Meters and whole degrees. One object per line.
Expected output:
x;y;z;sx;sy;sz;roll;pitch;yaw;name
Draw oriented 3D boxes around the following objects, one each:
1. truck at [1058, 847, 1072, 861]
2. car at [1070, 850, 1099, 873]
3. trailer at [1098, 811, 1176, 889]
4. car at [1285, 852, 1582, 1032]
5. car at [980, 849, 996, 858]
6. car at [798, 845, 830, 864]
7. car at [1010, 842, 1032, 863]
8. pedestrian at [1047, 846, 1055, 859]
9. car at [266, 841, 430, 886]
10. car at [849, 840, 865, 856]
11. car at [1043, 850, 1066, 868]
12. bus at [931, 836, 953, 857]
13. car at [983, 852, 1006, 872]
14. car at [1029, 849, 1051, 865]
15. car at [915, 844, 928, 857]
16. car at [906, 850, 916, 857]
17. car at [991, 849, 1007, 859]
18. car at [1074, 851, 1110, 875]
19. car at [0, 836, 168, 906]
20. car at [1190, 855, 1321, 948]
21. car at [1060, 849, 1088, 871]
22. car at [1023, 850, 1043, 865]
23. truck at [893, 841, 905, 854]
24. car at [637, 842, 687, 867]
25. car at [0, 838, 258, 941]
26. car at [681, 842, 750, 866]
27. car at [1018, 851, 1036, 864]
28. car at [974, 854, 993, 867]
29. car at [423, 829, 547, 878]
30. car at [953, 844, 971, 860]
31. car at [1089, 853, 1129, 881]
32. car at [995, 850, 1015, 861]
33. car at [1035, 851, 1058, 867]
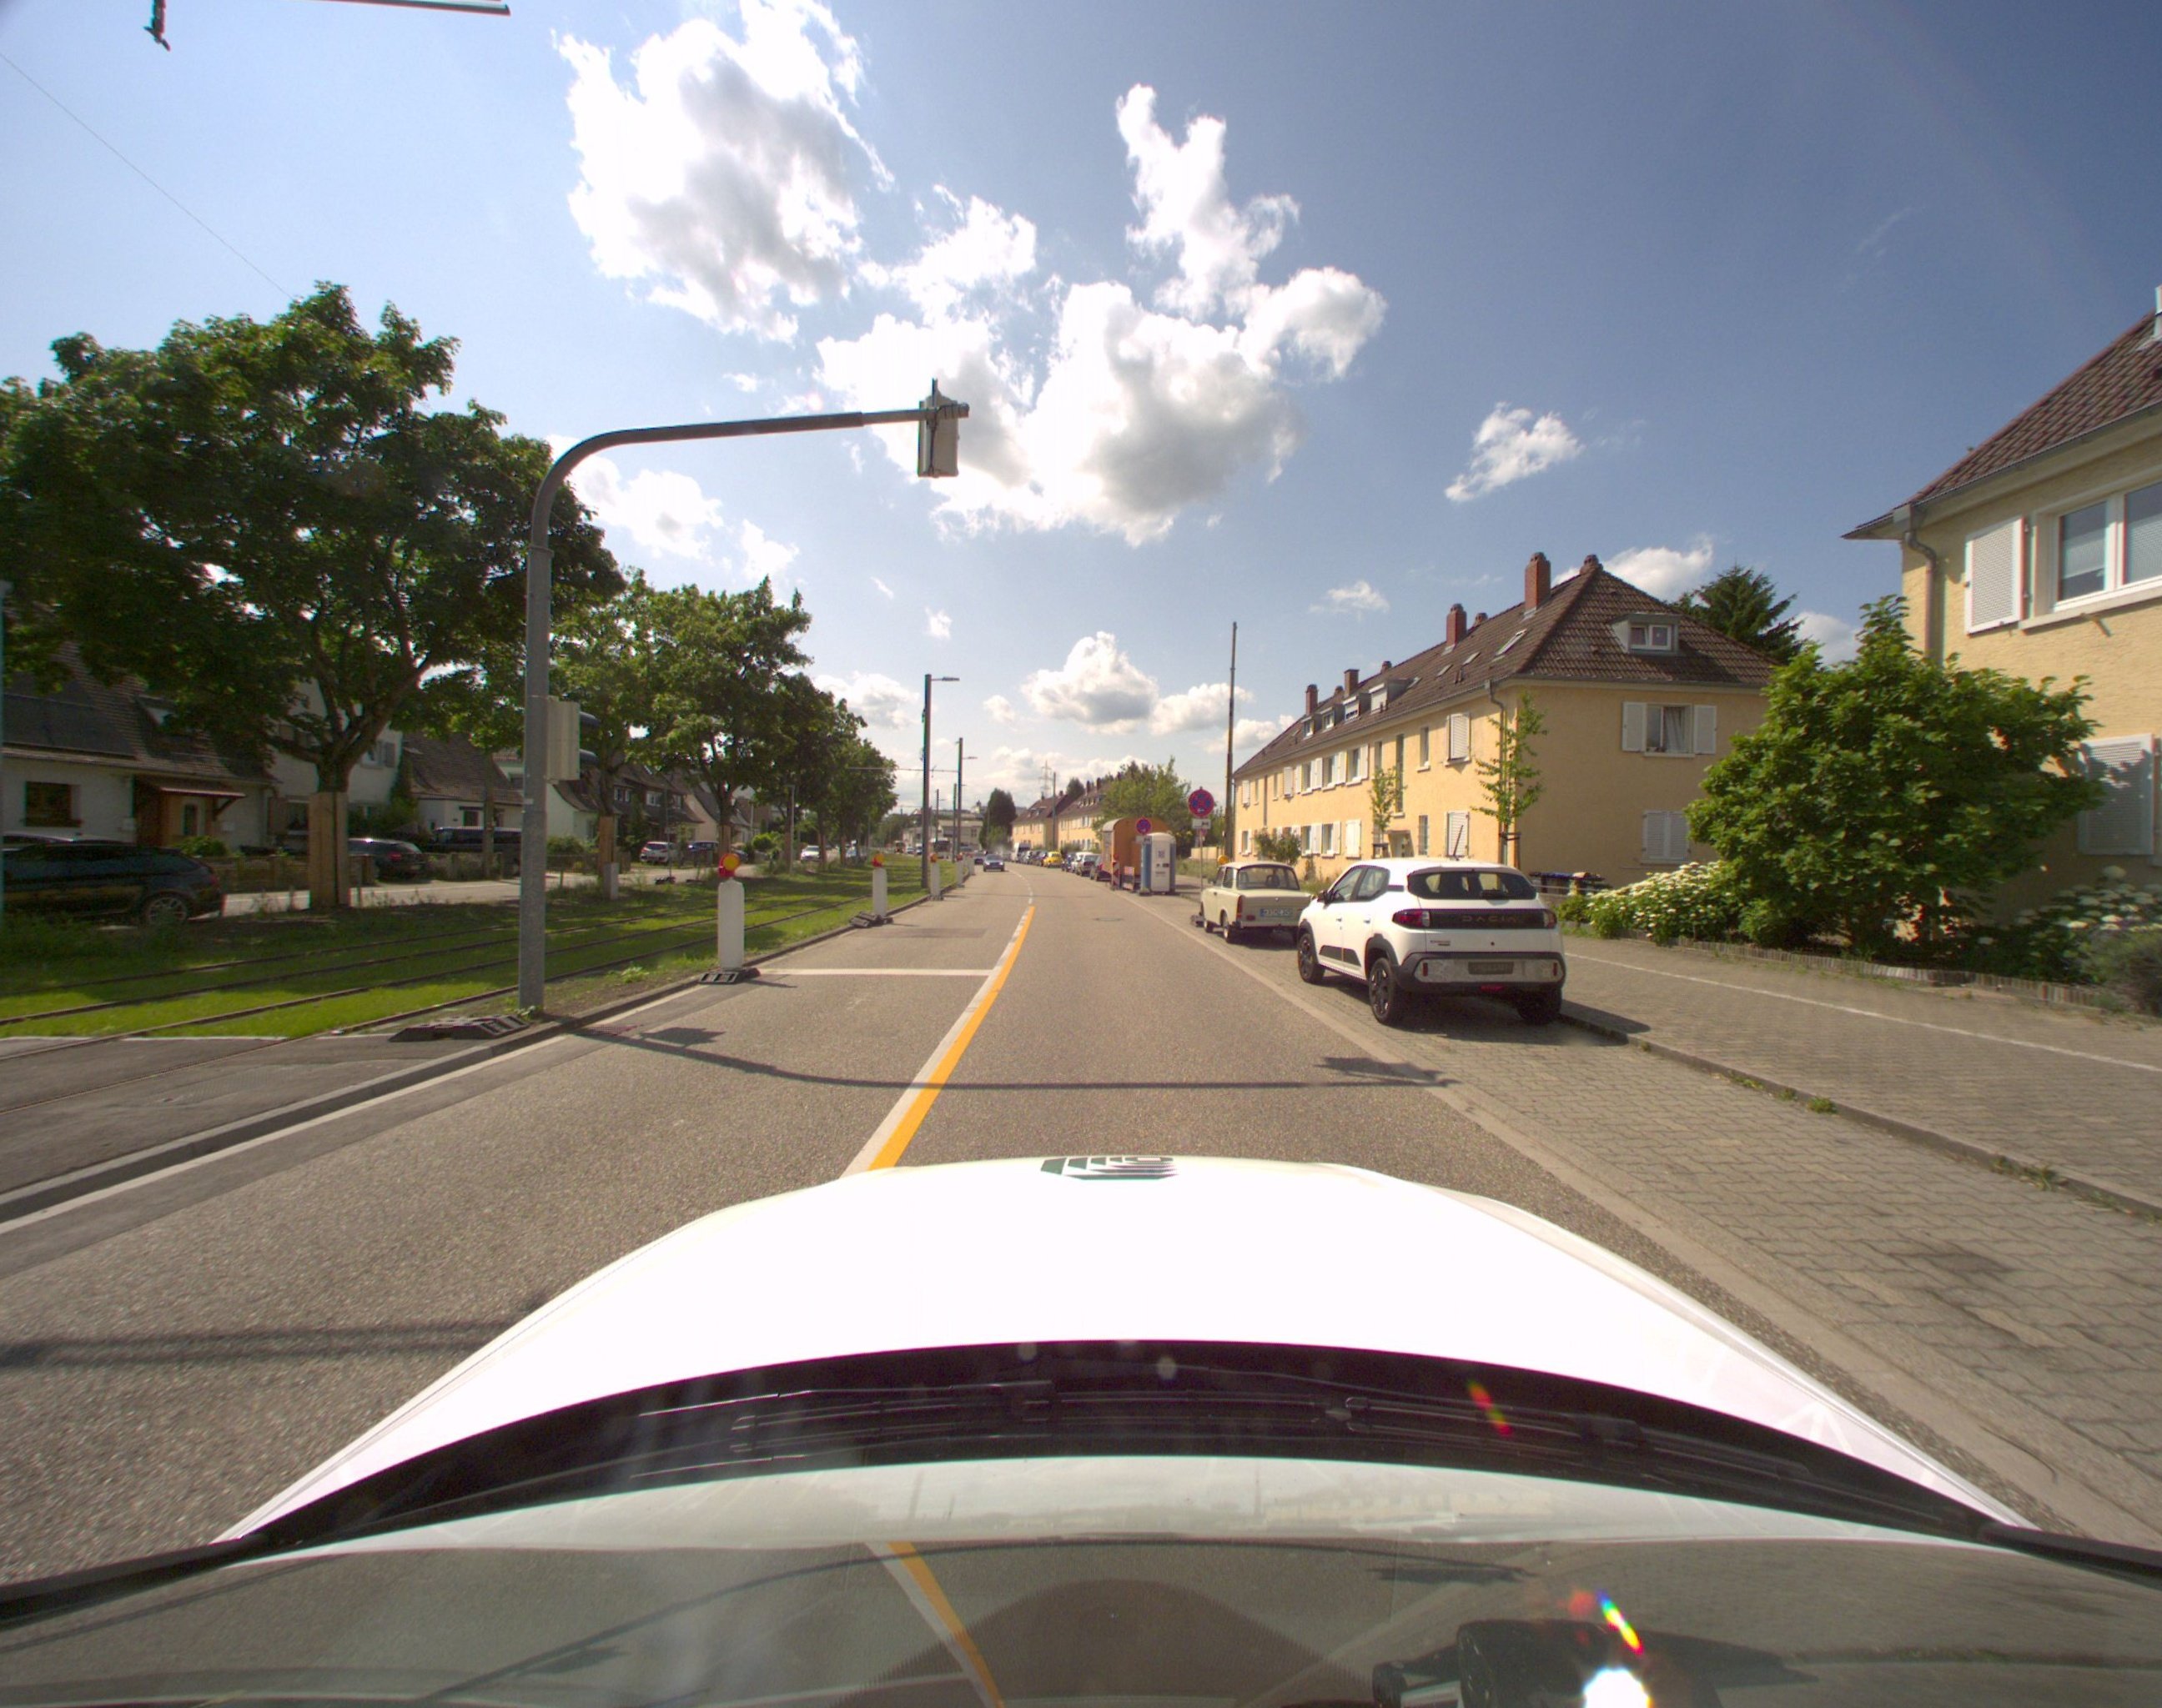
-1.941;0.032;98.390;1.347;1.688;2.431;1;0;-12;truck
0.217;0.513;57.932;1.575;1.513;4.449;1;0;-6;car
2.418;-0.176;36.768;2.686;3.226;5.072;1;0;-5;trailer
3.386;0.724;8.625;1.523;1.481;3.809;0;0;0;car
-14.440;-0.089;125.776;1.768;1.417;3.978;-1;1;-16;car
-25.789;0.028;78.789;1.879;1.768;5.073;1;0;-6;car
-7.364;-0.245;99.616;1.931;2.480;5.493;0;0;-13;car
-3.741;-0.174;101.937;0.854;1.652;0.634;1;0;-12;pedestrian
-25.148;0.332;28.064;3.878;1.457;1.732;1;0;-6;car
-40.557;-1.106;147.352;2.081;2.721;6.954;-1;1;-20;car
-2.467;0.463;75.149;1.636;1.482;3.918;-2;1;-10;car
-23.719;-1.277;138.796;2.640;3.412;12.188;-1;1;-14;bus
-7.034;0.620;66.148;1.664;1.449;3.948;-2;0;-8;car
-4.326;0.344;85.816;1.638;1.602;3.913;1;0;-14;car
-31.993;-0.711;163.689;2.107;2.443;5.541;1;0;-16;car
-39.819;-0.133;190.713;1.739;1.773;4.281;1;0;-19;car
-11.795;-0.029;117.271;1.624;1.417;3.978;-1;1;-16;car
0.678;0.575;52.864;1.705;1.449;4.824;1;0;-6;car
-24.918;0.370;19.363;3.982;1.530;1.870;1;0;-6;car
3.121;0.774;15.318;1.459;1.502;4.106;0;0;-2;car
-0.568;0.464;63.000;1.548;1.641;4.233;1;0;-9;car
-5.315;0.361;89.701;1.637;1.602;4.013;1;0;-12;car
-49.151;-1.705;220.181;2.567;3.459;7.106;-1;1;-18;truck
-27.015;0.013;52.644;1.728;1.517;4.030;1;0;-10;car
-15.561;0.470;11.950;1.844;1.387;4.813;1;0;4;car
-28.232;0.002;63.116;4.473;1.836;2.057;1;0;-12;car
-6.310;0.342;94.376;1.537;1.445;3.722;1;0;-12;car
-10.714;0.721;89.486;1.726;1.389;4.104;1;0;-13;car
-25.462;0.002;34.954;3.902;1.897;1.927;3;-1;-25;car
-15.610;-0.296;106.354;1.957;1.966;5.270;0;0;-12;car
1.472;0.696;45.034;1.575;1.449;4.443;1;0;-6;car
-10.431;0.264;111.989;1.803;1.458;4.737;-1;0;-17;car
-3.454;0.503;80.329;1.637;1.482;4.108;1;0;-12;car
